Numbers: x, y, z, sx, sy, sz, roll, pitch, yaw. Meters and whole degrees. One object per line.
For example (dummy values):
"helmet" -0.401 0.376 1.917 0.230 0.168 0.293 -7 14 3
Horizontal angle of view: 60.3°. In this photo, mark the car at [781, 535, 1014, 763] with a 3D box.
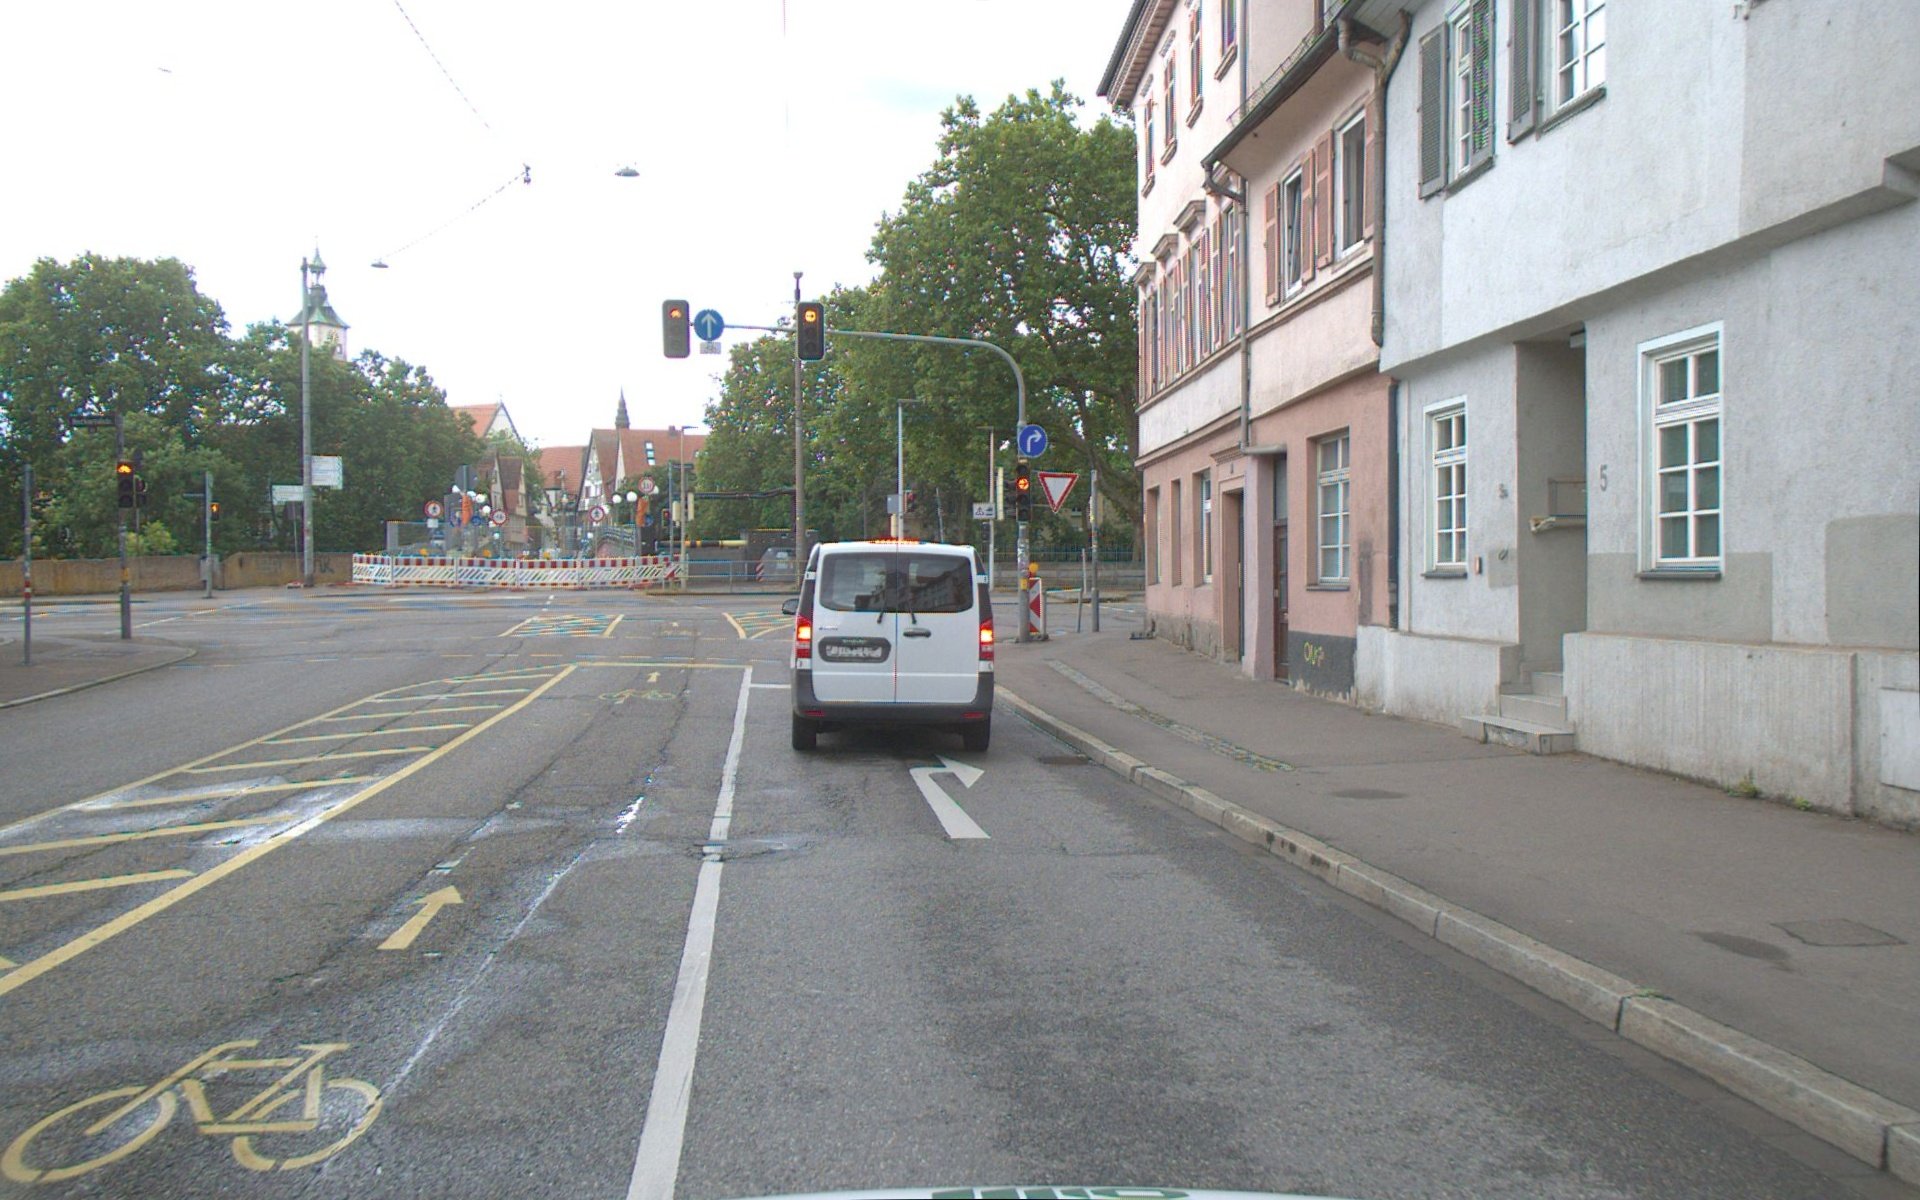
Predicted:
"car" -0.757 0.386 16.397 1.956 1.956 4.243 0 1 -7
